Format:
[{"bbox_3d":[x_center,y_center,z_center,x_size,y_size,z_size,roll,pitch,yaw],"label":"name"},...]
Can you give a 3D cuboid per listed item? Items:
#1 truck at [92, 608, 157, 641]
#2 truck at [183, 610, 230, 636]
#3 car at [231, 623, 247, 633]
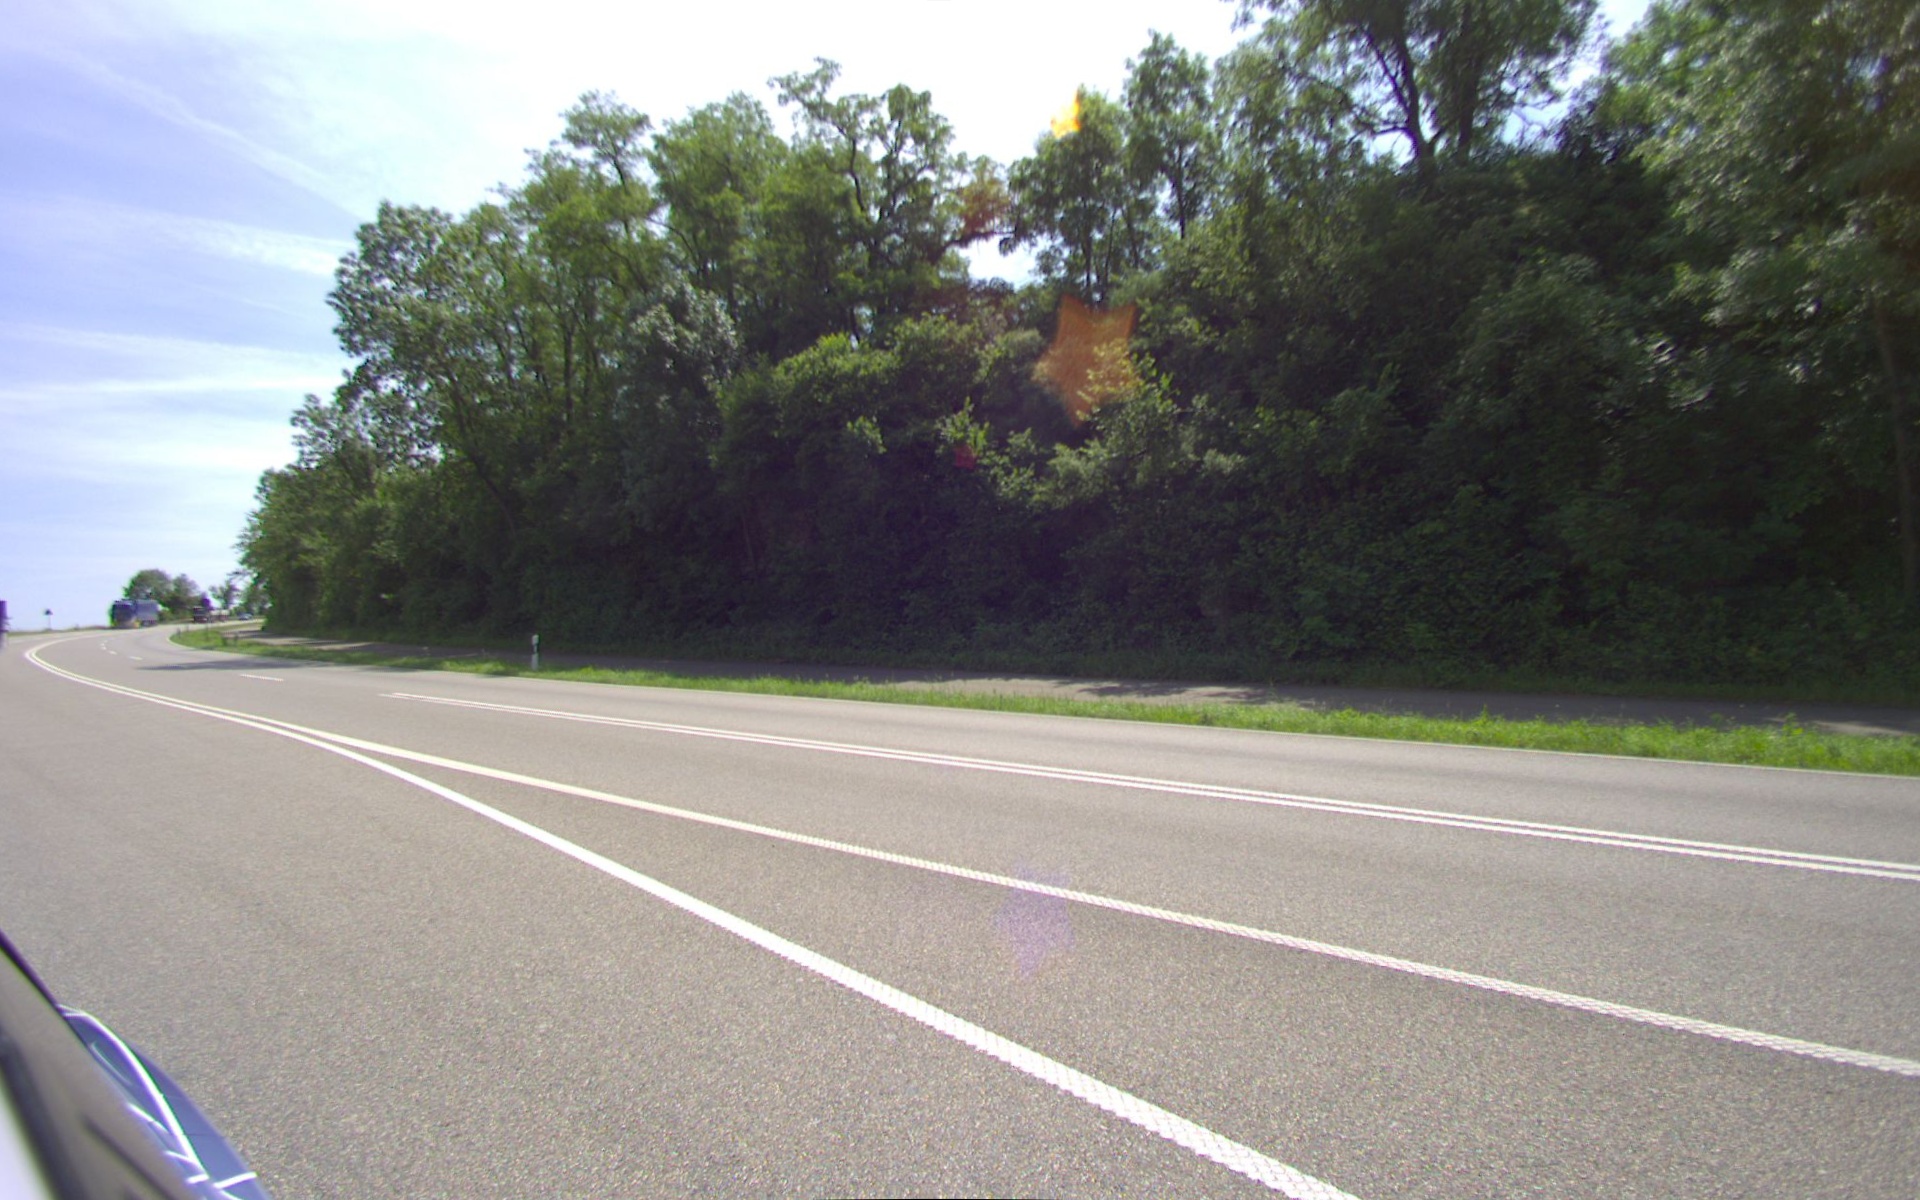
[{"bbox_3d":[-121.269,3.548,147.163,4.325,4.493,14.758,-1,-1,-28],"label":"truck"},{"bbox_3d":[-140.339,4.274,188.712,3.920,4.493,14.387,-1,-1,-24],"label":"truck"},{"bbox_3d":[-149.851,5.859,210.281,1.886,2.029,4.189,0,0,-25],"label":"car"}]
